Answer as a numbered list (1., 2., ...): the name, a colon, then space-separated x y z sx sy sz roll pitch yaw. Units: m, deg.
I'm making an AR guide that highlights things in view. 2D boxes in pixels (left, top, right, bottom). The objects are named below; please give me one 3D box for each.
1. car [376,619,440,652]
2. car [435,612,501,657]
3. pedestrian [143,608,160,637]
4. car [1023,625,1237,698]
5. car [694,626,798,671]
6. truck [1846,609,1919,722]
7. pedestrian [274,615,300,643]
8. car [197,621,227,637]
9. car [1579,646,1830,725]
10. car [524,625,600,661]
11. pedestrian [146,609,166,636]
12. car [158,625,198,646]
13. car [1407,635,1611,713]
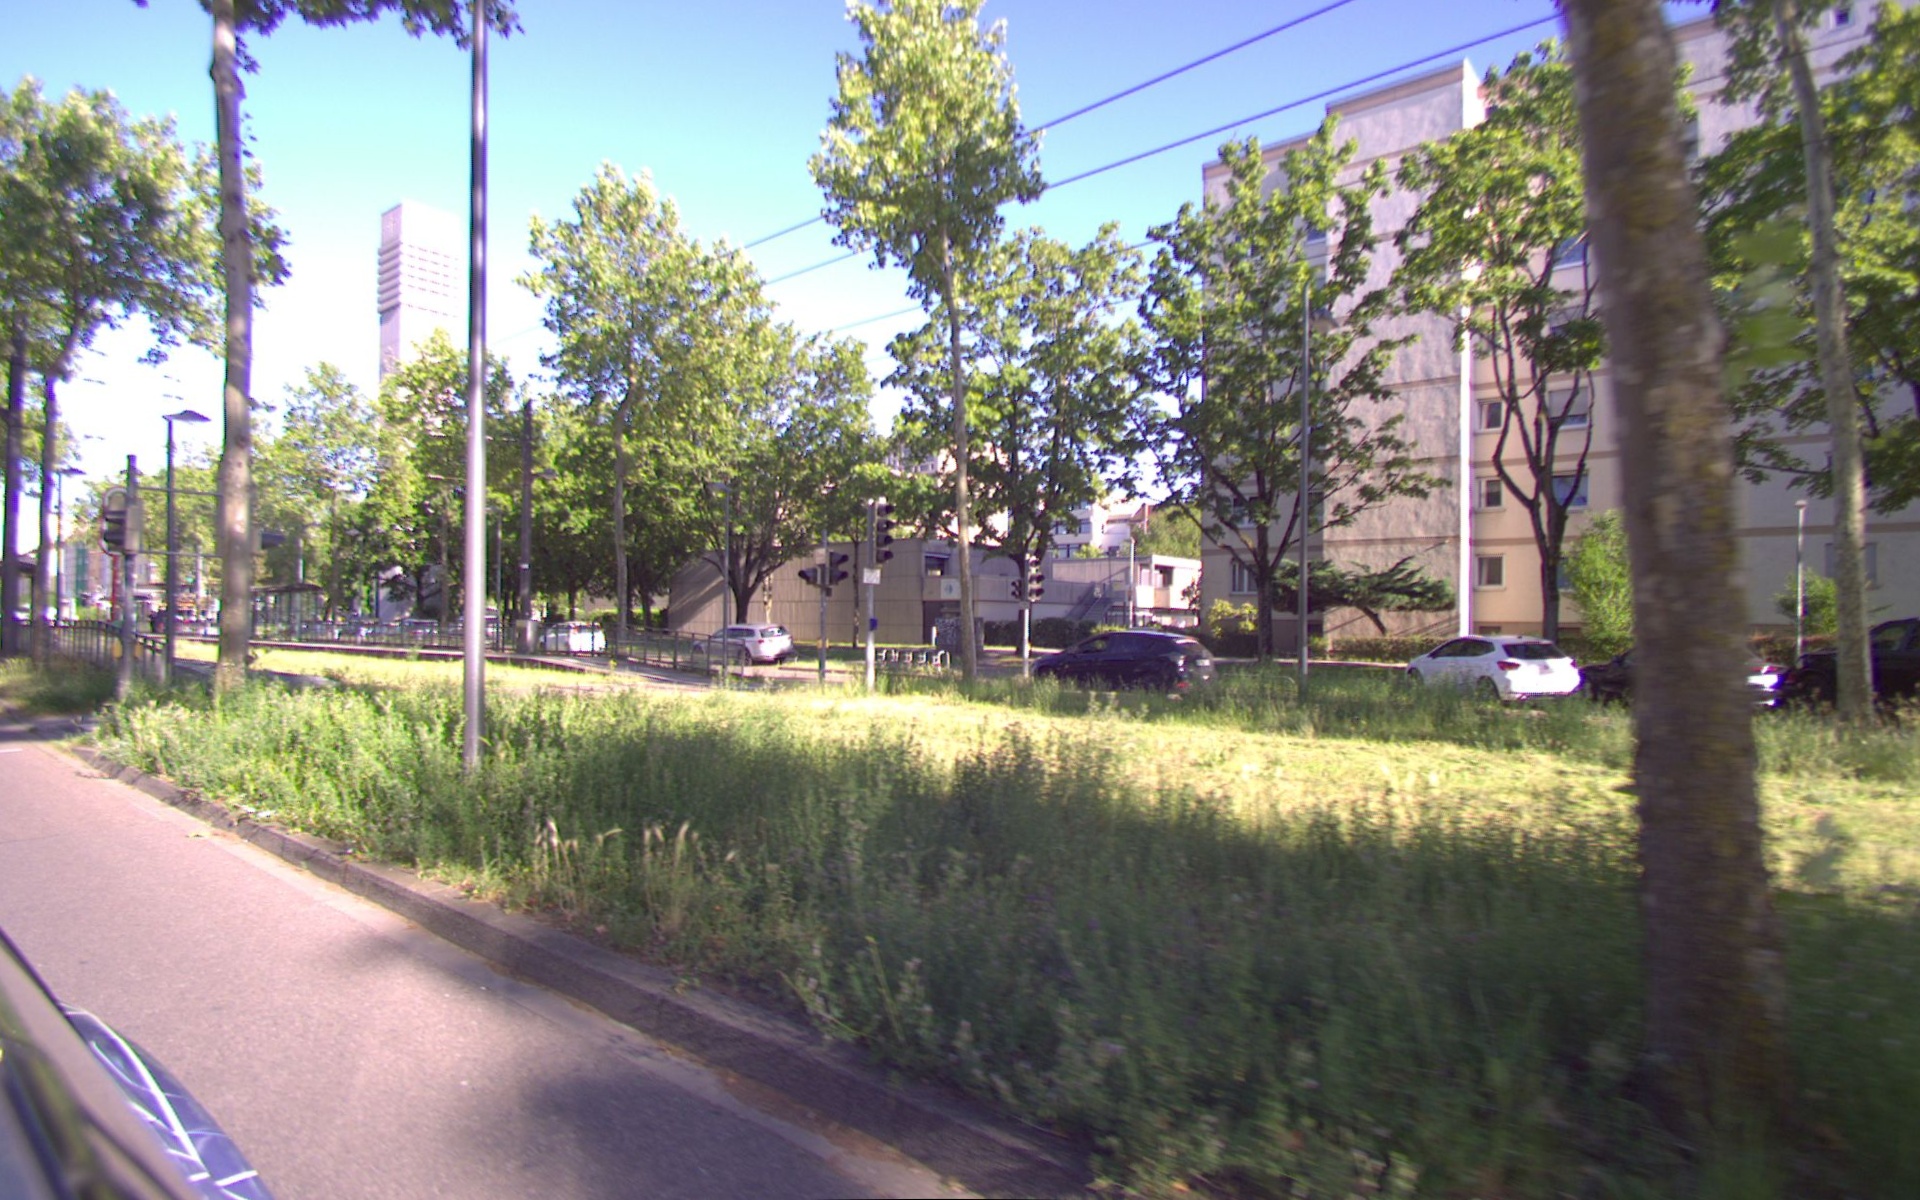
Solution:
1. car: -27.682 1.754 50.704 3.934 1.557 1.695 -1 -2 44
2. car: -25.795 1.775 53.042 3.931 2.279 1.696 -1 -2 41
3. pedestrian: -52.015 1.461 65.103 0.636 1.881 0.712 -1 -1 42
4. car: 3.591 1.257 21.824 4.169 1.400 1.971 -1 -2 44
5. car: -8.007 1.765 37.691 4.200 1.557 1.695 -1 -2 43
6. truck: 16.298 1.079 15.794 1.631 1.788 4.078 0 1 6
7. pedestrian: -31.356 1.331 47.147 0.825 1.270 0.802 0 -1 -20
8. car: -61.004 2.359 82.554 3.374 1.251 1.249 -1 -2 41
9. car: 13.707 1.519 18.959 1.814 1.256 3.825 0 -2 0
10. car: -17.934 1.916 45.511 3.935 1.557 1.694 -1 -2 44
11. pedestrian: -51.384 1.454 64.678 0.754 1.702 0.873 -1 -1 42
12. car: -57.063 2.578 73.865 3.534 1.438 1.589 -1 -2 40
13. car: 11.329 1.478 21.218 1.811 1.446 3.832 1 -2 -8
